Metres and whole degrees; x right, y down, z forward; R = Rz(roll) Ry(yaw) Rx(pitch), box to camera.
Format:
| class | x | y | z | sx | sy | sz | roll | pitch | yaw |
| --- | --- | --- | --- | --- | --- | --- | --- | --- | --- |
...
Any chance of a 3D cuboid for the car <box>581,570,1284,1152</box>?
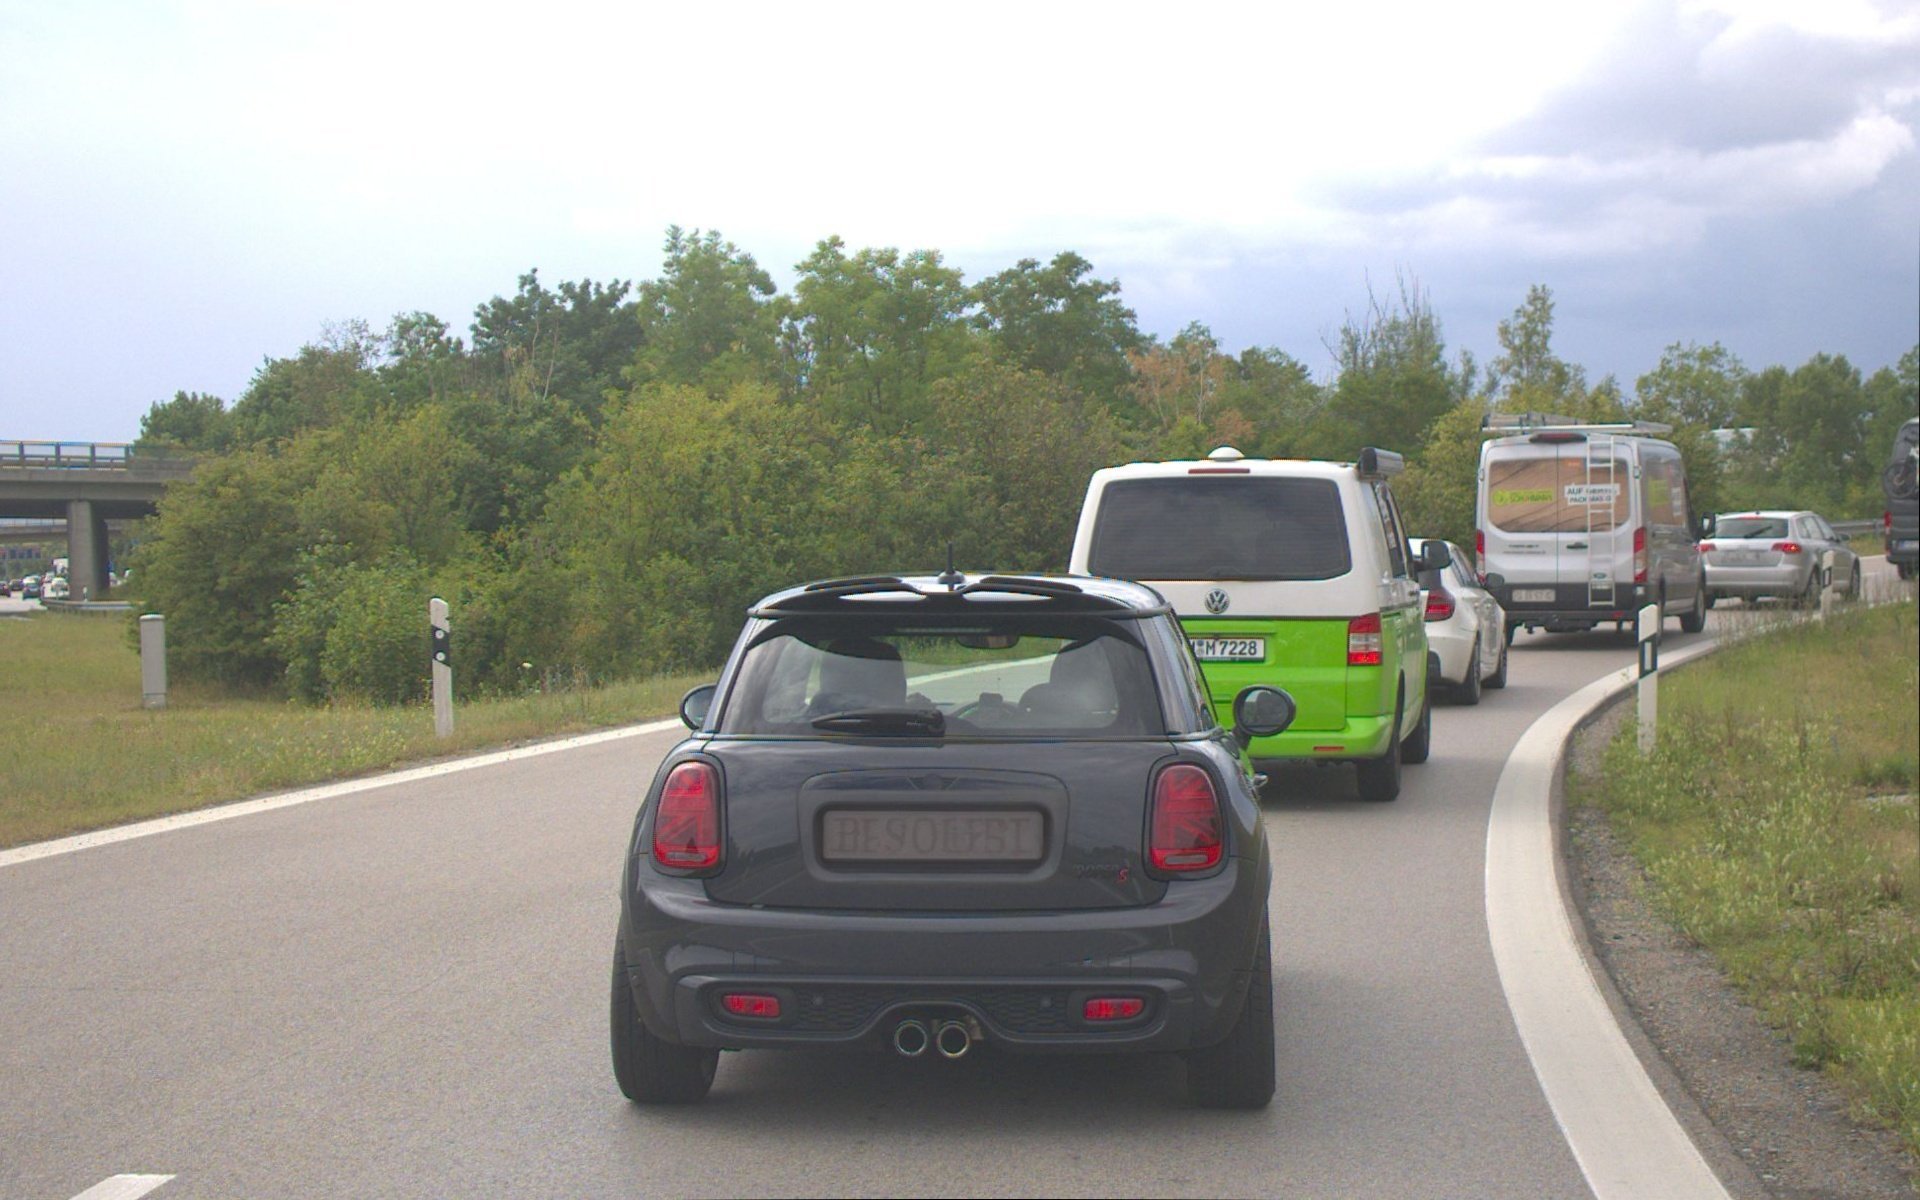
| class | x | y | z | sx | sy | sz | roll | pitch | yaw |
| --- | --- | --- | --- | --- | --- | --- | --- | --- | --- |
| car | 0.073 | 0.621 | 10.297 | 1.727 | 1.409 | 3.724 | 0 | 0 | 5 |

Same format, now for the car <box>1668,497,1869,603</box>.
| class | x | y | z | sx | sy | sz | roll | pitch | yaw |
| --- | --- | --- | --- | --- | --- | --- | --- | --- | --- |
| car | 12.010 | -0.729 | 50.890 | 1.869 | 1.505 | 3.993 | 0 | 1 | 29 |

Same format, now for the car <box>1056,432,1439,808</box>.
| class | x | y | z | sx | sy | sz | roll | pitch | yaw |
| --- | --- | --- | --- | --- | --- | --- | --- | --- | --- |
| car | 1.809 | 0.083 | 20.468 | 1.785 | 2.007 | 3.998 | 0 | 1 | 12 |

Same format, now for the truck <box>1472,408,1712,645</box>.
| class | x | y | z | sx | sy | sz | roll | pitch | yaw |
| --- | --- | --- | --- | --- | --- | --- | --- | --- | --- |
| truck | 7.634 | -0.879 | 41.119 | 2.180 | 2.649 | 5.104 | 0 | 1 | 18 |

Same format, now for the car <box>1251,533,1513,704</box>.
| class | x | y | z | sx | sy | sz | roll | pitch | yaw |
| --- | --- | --- | --- | --- | --- | --- | --- | --- | --- |
| car | 3.764 | 0.137 | 30.158 | 1.763 | 1.394 | 3.722 | 0 | 0 | 15 |

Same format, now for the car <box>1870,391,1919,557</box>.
| class | x | y | z | sx | sy | sz | roll | pitch | yaw |
| --- | --- | --- | --- | --- | --- | --- | --- | --- | --- |
| car | 17.292 | -2.142 | 59.670 | 2.108 | 2.787 | 3.994 | 1 | 1 | 26 |
